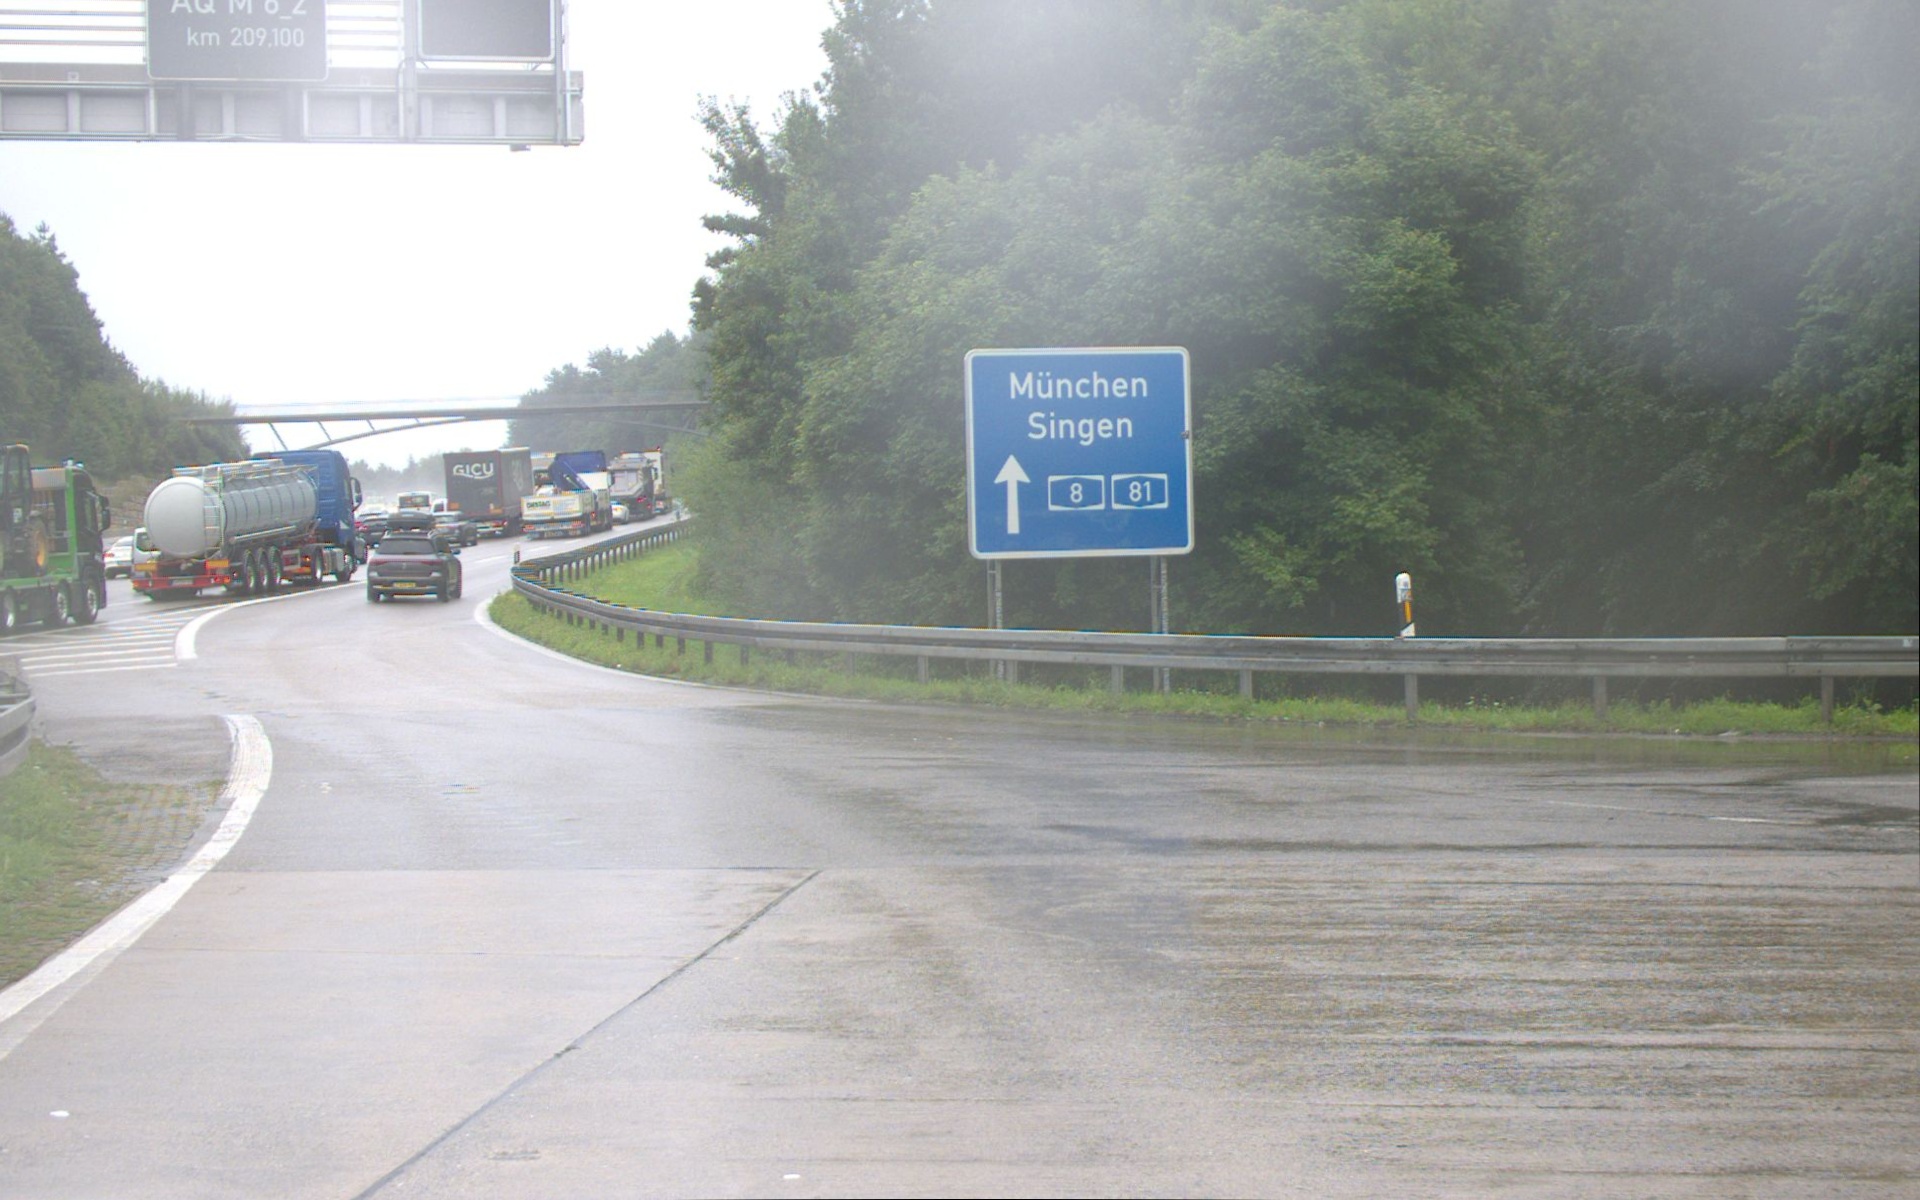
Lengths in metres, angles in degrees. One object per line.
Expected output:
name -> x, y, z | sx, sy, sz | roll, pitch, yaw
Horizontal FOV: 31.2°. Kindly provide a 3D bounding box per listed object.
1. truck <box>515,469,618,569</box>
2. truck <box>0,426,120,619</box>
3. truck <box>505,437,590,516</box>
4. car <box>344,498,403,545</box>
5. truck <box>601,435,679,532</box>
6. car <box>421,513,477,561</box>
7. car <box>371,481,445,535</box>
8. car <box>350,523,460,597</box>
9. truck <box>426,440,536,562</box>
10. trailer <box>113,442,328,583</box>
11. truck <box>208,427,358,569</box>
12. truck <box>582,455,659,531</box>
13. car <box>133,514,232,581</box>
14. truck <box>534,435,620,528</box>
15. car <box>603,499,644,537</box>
truck -> -17.436, -3.682, 153.088 | 3.599, 4.090, 11.562 | -3, 2, -2
truck -> -19.196, -1.429, 65.558 | 2.831, 3.576, 11.798 | -3, 2, 2
truck -> -23.582, -7.014, 196.928 | 3.576, 4.081, 10.880 | -2, 1, -1
car -> -25.143, -3.351, 147.434 | 1.797, 1.897, 4.000 | -2, 1, -1
truck -> -19.806, -7.181, 213.388 | 4.335, 5.744, 9.732 | 1, 1, -3
car -> -20.844, -2.556, 140.361 | 1.797, 1.897, 4.000 | 1, 1, -2
car -> -31.717, -5.260, 197.728 | 3.246, 2.992, 6.774 | 1, 1, -1
car -> -12.890, -0.929, 80.052 | 1.993, 1.630, 4.000 | 1, 1, -1
truck -> -22.281, -4.526, 160.490 | 3.754, 5.480, 10.173 | 1, 1, -1
trailer -> -18.760, -2.332, 87.910 | 2.874, 3.277, 10.079 | -2, 2, 2
truck -> -18.590, -2.846, 94.645 | 2.877, 3.680, 5.057 | -2, 2, 1
truck -> -18.911, -5.909, 192.248 | 3.754, 3.957, 11.061 | 1, 1, -3
car -> -21.851, -1.500, 96.754 | 1.819, 1.760, 4.001 | -2, 2, 0
truck -> -18.758, -5.761, 168.950 | 3.507, 4.253, 10.604 | 1, 1, -3
car -> -17.596, -4.274, 179.786 | 1.797, 1.897, 4.000 | -2, 1, -2
